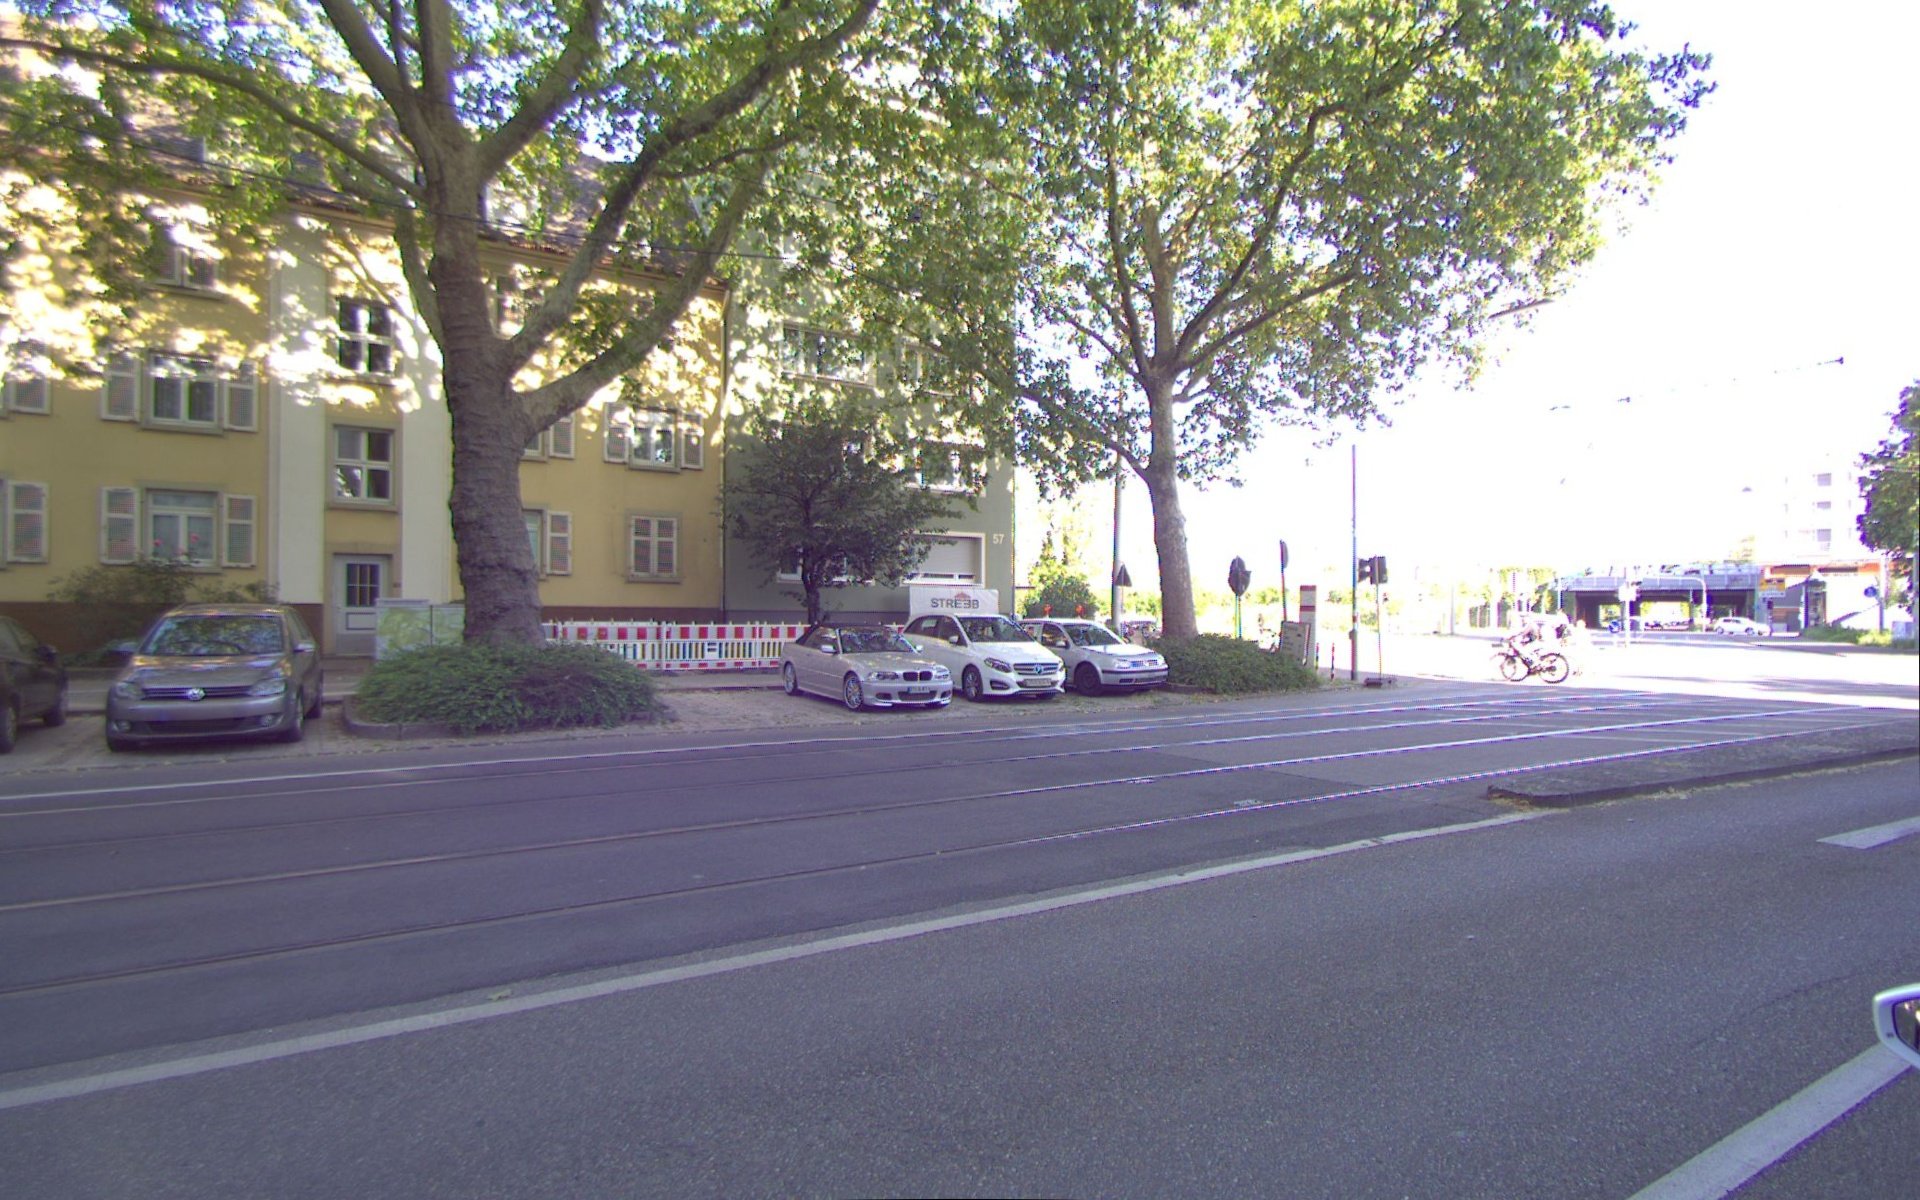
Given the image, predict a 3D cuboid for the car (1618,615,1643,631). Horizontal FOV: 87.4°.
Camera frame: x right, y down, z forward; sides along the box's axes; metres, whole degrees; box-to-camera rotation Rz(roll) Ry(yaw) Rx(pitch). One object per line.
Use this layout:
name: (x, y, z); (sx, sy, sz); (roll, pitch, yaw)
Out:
car: (79.568, 2.687, 119.148); (2.185, 1.847, 4.131); (0, -1, 37)

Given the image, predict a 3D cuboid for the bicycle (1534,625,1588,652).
bicycle: (25.875, 1.654, 43.299); (0.584, 1.108, 2.050); (1, -1, -24)

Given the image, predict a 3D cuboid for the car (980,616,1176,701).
car: (2.300, 1.110, 20.833); (1.656, 1.448, 4.490); (1, 0, -30)

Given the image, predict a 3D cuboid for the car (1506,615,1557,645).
car: (32.433, 1.680, 56.948); (1.803, 1.539, 3.876); (2, 1, 40)

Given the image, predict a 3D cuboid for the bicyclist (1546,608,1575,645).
bicyclist: (25.880, 1.139, 43.285); (0.640, 1.616, 0.859); (1, -1, -24)

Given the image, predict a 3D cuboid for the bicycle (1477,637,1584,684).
bicycle: (13.691, 1.434, 24.133); (2.163, 1.047, 0.831); (0, -1, 38)

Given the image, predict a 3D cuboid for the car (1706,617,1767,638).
car: (71.255, 2.495, 92.191); (1.710, 1.829, 4.169); (1, -1, -20)

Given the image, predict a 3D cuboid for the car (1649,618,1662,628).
car: (124.965, 4.128, 180.482); (1.967, 1.623, 4.234); (0, -1, 34)

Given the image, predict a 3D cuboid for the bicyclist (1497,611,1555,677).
bicyclist: (13.612, 1.045, 24.146); (1.099, 1.540, 0.918); (0, -1, 38)

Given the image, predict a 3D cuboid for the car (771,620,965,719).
car: (-1.729, 1.095, 17.444); (1.708, 1.386, 4.219); (1, 0, -31)

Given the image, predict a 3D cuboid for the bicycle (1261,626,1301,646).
bicycle: (17.870, 1.995, 55.934); (2.001, 1.075, 0.583); (0, -1, 1)

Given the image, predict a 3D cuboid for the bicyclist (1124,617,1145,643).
bicyclist: (10.638, 1.825, 61.361); (0.792, 1.591, 1.002); (1, -1, -38)

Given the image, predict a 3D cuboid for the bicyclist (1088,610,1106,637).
bicyclist: (8.600, 1.477, 63.193); (0.912, 1.730, 0.874); (0, -1, 25)

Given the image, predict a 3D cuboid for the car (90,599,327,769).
car: (-9.037, 0.861, 12.435); (1.793, 1.627, 4.169); (1, 1, -29)

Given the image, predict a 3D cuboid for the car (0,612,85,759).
car: (-11.394, 0.882, 11.307); (1.723, 1.448, 3.545); (1, 0, -31)

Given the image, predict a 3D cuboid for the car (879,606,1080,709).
car: (0.221, 0.995, 19.488); (1.777, 1.640, 4.587); (1, 1, -30)
